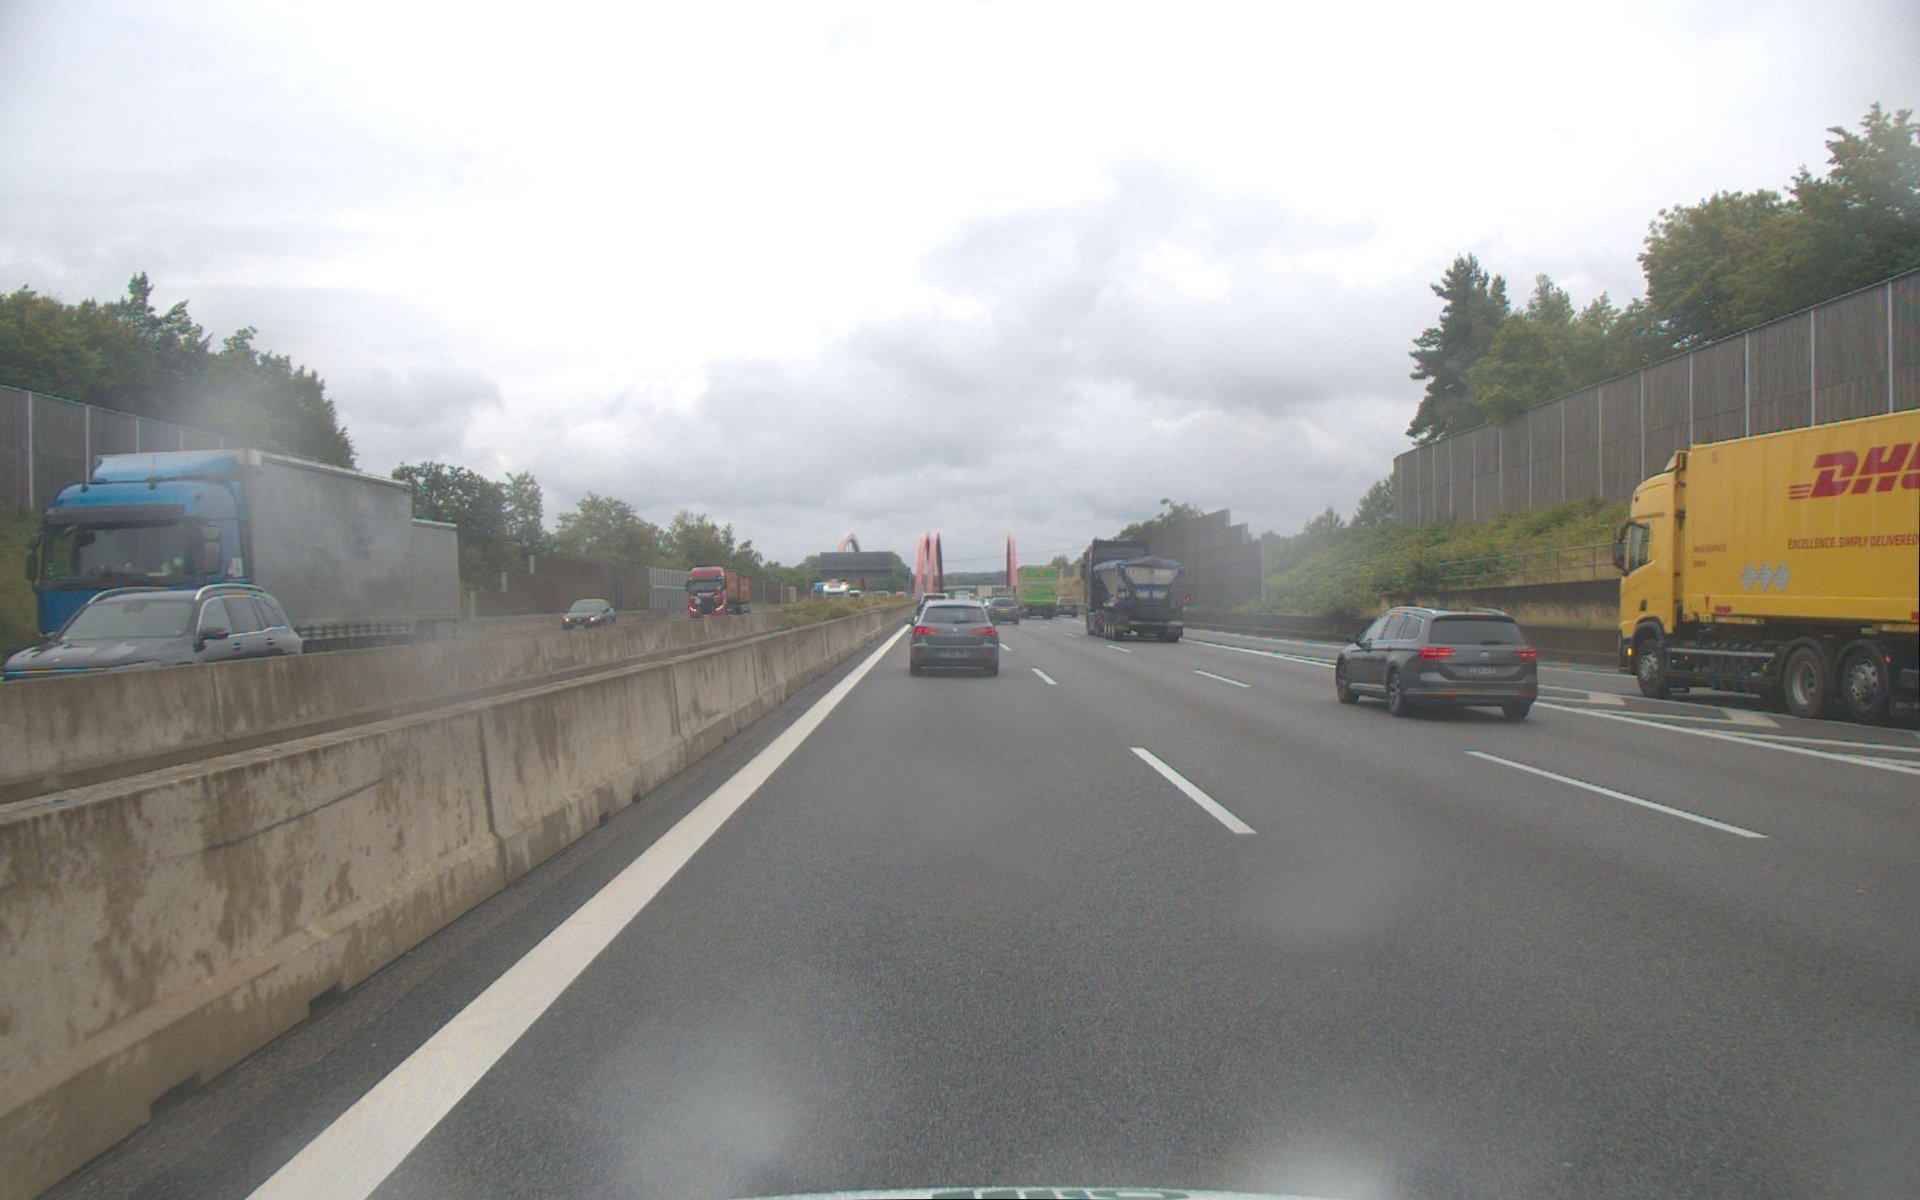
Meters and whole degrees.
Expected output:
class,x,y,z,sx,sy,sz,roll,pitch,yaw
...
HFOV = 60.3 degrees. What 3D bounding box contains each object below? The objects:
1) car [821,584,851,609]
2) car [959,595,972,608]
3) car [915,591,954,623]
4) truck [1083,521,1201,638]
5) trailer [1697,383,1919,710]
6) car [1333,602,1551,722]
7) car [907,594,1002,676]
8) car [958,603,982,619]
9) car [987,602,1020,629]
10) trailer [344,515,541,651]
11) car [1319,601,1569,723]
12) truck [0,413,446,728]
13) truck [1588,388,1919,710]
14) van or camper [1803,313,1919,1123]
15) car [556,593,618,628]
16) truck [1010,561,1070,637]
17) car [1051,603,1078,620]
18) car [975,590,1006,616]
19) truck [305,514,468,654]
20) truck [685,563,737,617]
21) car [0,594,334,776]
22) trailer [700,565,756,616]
class,x,y,z,sx,sy,sz,roll,pitch,yaw
car,-11.644,-0.301,155.921,2.325,2.231,7.722,0,0,-1
car,0.836,0.266,244.106,1.953,1.847,4.000,1,0,0
car,-1.302,0.347,85.127,1.953,1.612,3.999,-1,0,-1
truck,6.807,-0.691,63.959,3.026,4.019,12.943,-1,0,0
trailer,13.149,-0.644,17.685,2.597,4.022,16.680,1,0,-2
car,6.594,0.791,23.111,1.629,1.482,4.469,1,0,-1
car,-0.151,0.642,32.377,1.728,1.478,3.999,1,0,-2
car,0.851,0.934,143.303,1.953,1.378,3.999,-1,0,-1
car,2.422,0.857,92.715,1.745,1.431,3.626,1,0,0
trailer,-16.983,-0.519,55.445,2.844,4.004,12.441,-1,0,-1
car,6.662,0.782,23.445,1.900,1.452,5.288,1,0,-1
truck,-12.793,-0.405,29.743,3.087,4.400,12.678,1,0,0
truck,12.883,-0.594,25.389,2.631,4.027,9.323,1,0,-2
van or camper,3.703,0.339,2.517,1.852,2.309,5.678,1,0,-1
car,-17.490,0.487,77.735,1.953,1.564,4.481,-1,0,-1
truck,5.947,-0.053,124.731,3.916,5.358,11.219,1,0,0
car,8.684,0.927,138.015,1.953,1.378,3.999,-1,0,-1
car,2.083,0.165,112.685,1.953,1.691,3.999,1,0,-1
truck,-16.901,-0.459,49.160,2.830,3.862,5.888,-1,0,-1
truck,-18.082,-0.701,120.380,2.641,3.771,6.480,1,0,0
car,-8.982,0.828,18.710,1.953,1.766,5.001,0,0,-1
trailer,-17.991,-0.751,129.037,2.671,3.748,12.561,0,0,-1
